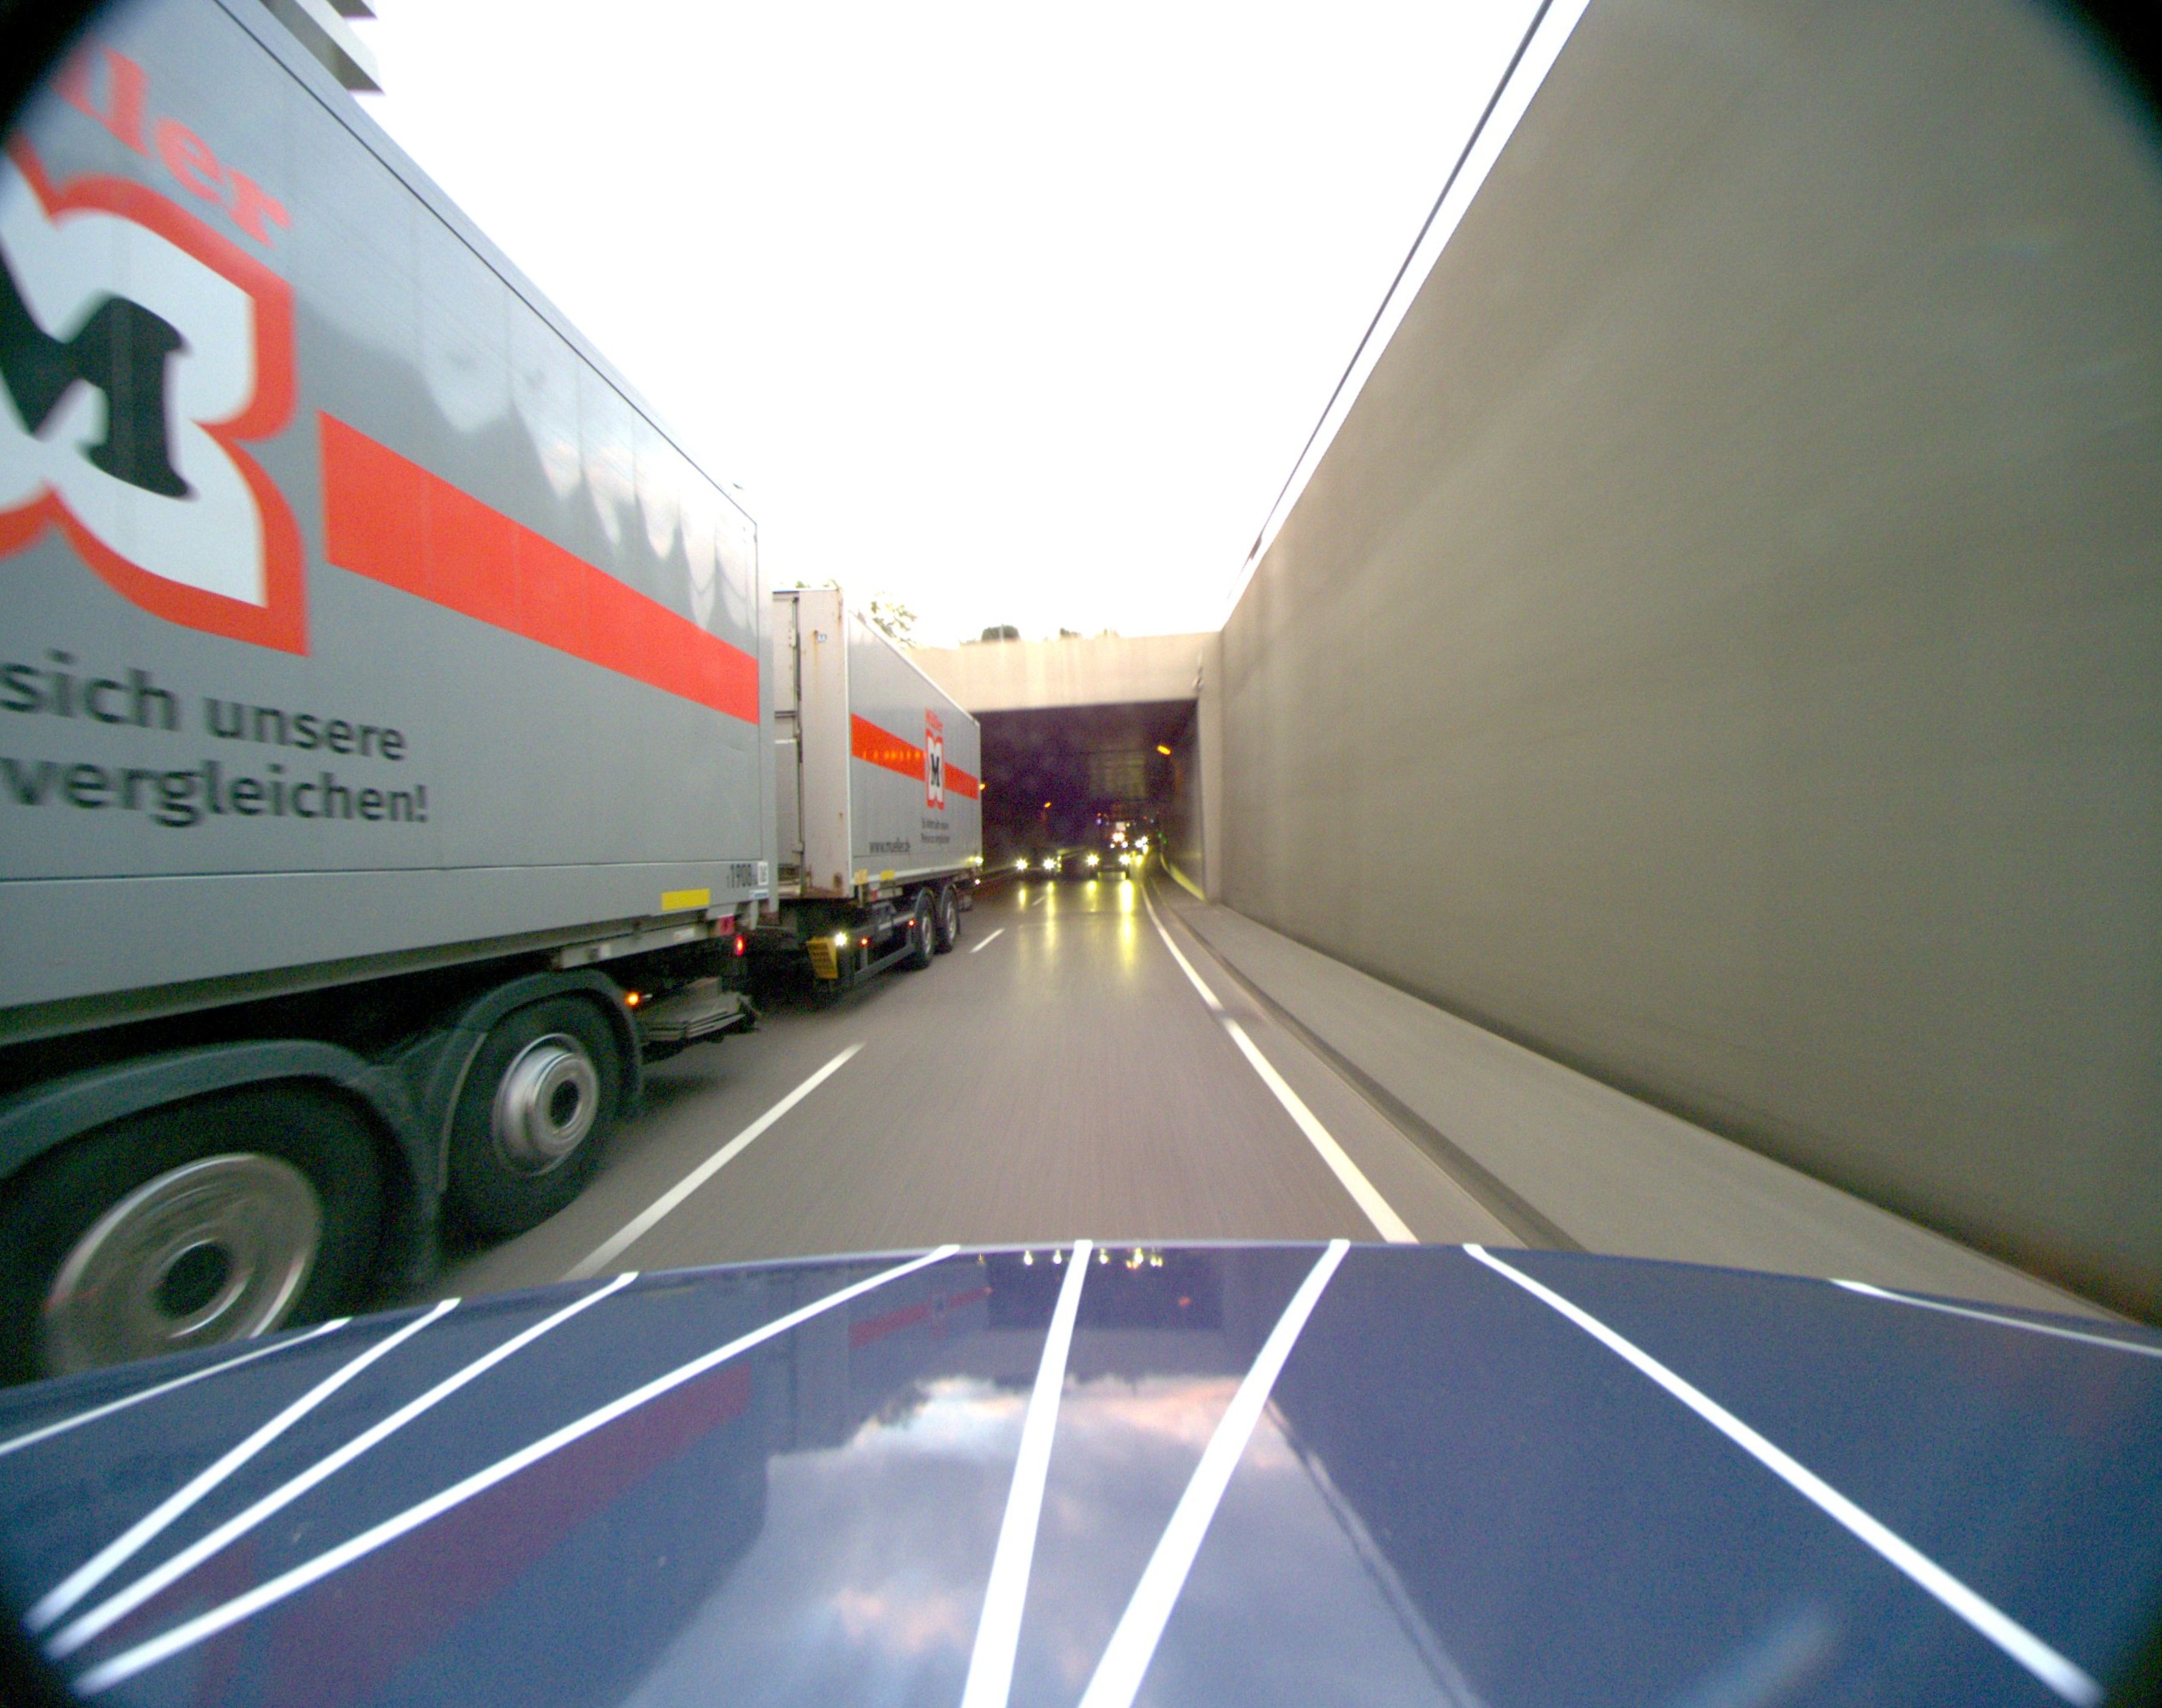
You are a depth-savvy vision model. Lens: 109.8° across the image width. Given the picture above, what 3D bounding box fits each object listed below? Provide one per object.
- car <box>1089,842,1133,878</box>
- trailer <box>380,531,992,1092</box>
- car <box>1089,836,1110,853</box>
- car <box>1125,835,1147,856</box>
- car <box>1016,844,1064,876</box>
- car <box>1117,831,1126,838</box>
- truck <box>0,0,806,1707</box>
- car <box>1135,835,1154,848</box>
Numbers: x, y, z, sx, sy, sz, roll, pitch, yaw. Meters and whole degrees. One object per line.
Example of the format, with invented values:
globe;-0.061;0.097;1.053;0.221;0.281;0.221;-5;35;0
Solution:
car;1.452;0.240;35.779;1.819;1.589;4.001;0;1;6
trailer;-3.286;-0.309;9.788;2.882;3.836;8.948;-2;0;1
car;1.862;-0.973;76.148;1.735;1.565;4.001;-3;1;6
car;4.944;-0.779;67.687;1.714;1.729;4.000;-2;2;6
car;-1.871;0.251;35.742;1.734;1.395;3.799;-1;1;4
car;9.574;-4.617;179.692;1.998;1.674;4.000;-2;1;3
truck;-3.514;-0.258;0.333;2.896;3.891;9.908;-1;0;1
car;8.334;-1.691;99.285;1.997;1.576;4.654;-2;1;9
